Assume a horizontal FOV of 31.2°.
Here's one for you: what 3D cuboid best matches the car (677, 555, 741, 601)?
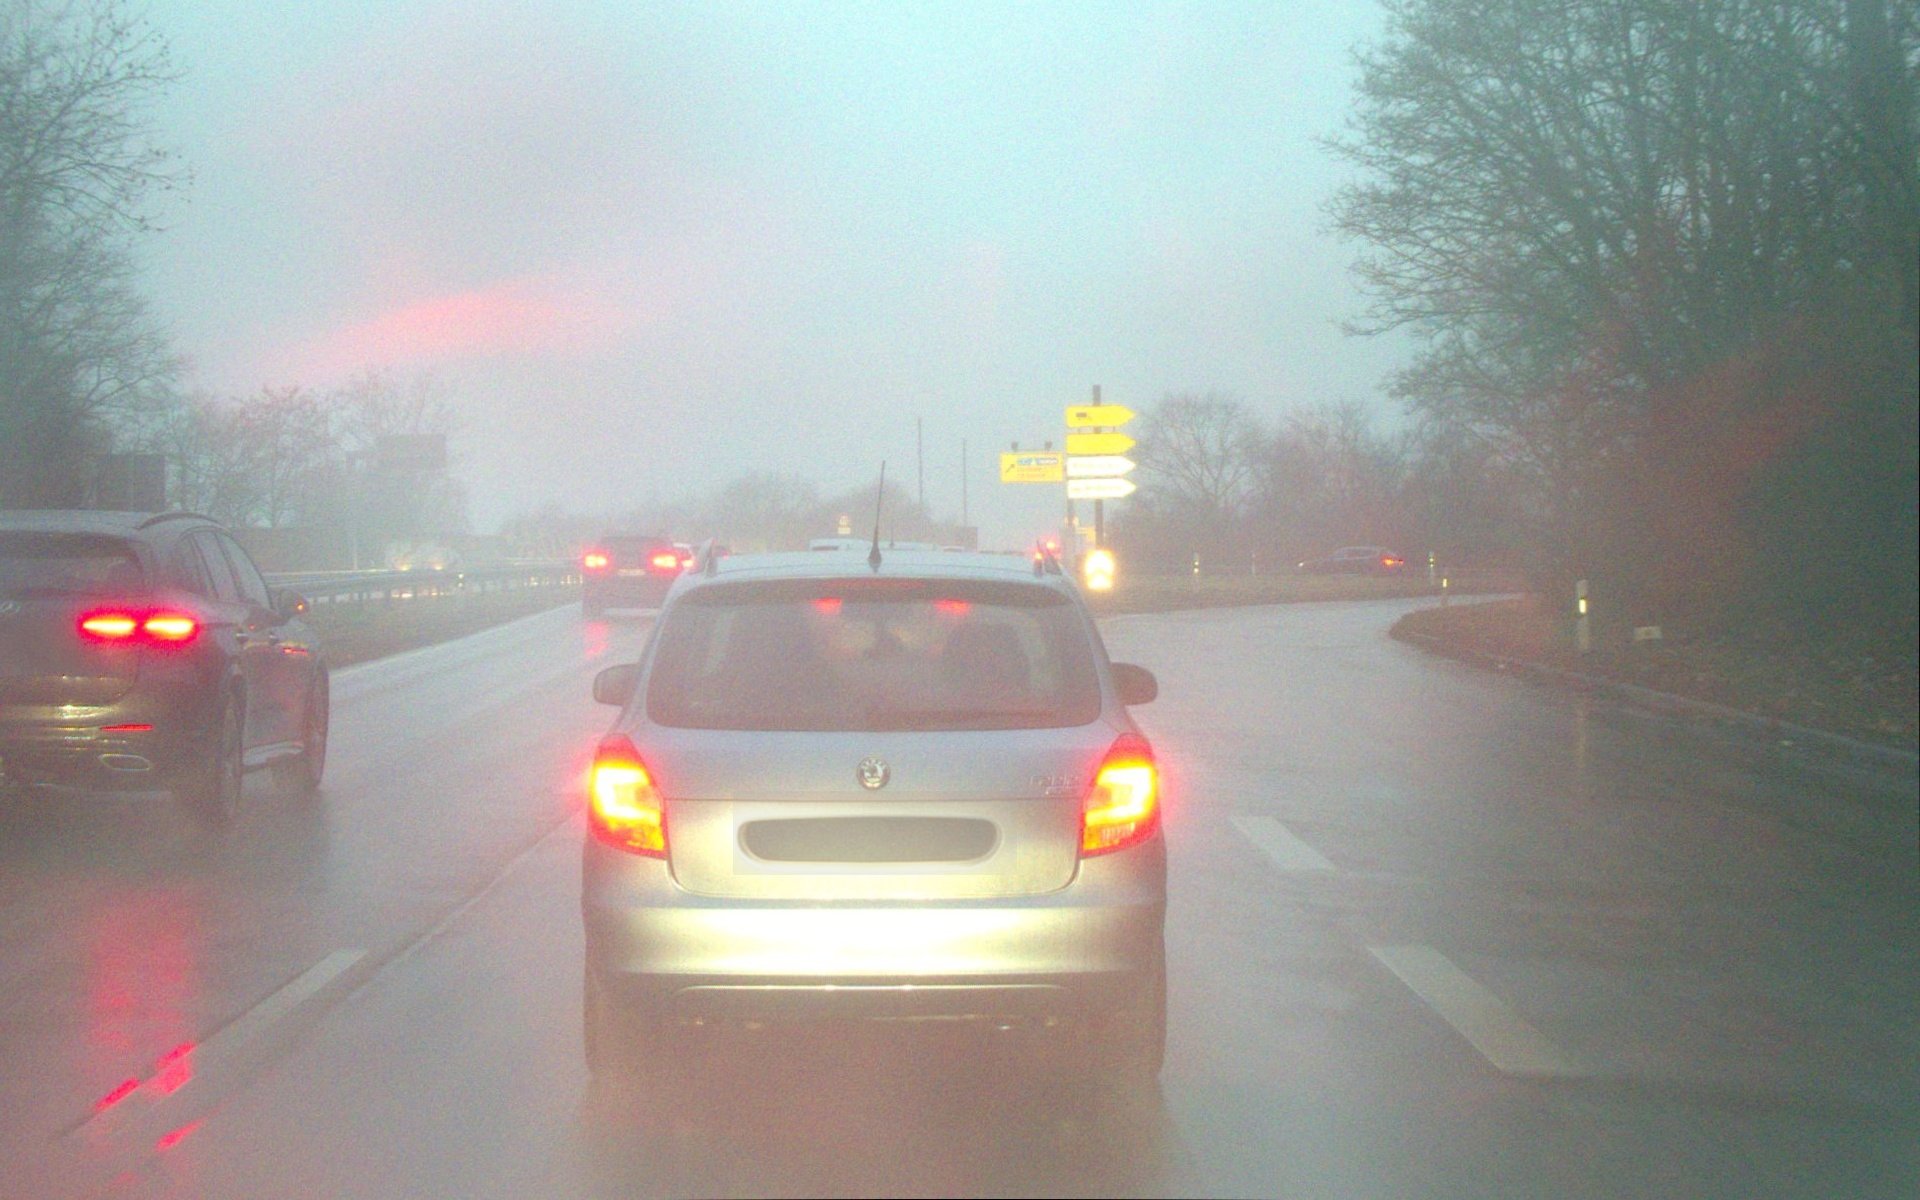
[{"bbox_3d":[-8.210,-0.729,112.686,1.789,1.478,4.000,-1,1,0],"label":"car"}]

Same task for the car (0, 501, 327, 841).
[{"bbox_3d":[-4.743,0.295,18.433,1.993,1.596,4.309,1,1,-2],"label":"car"}]

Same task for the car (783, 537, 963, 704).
[{"bbox_3d":[-0.919,0.181,38.482,1.897,1.761,4.309,0,1,0],"label":"car"}]

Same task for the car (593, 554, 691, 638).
[{"bbox_3d":[-6.019,-0.102,65.308,1.789,1.540,4.001,0,1,-5],"label":"car"}]

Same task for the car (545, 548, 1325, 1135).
[{"bbox_3d":[-0.066,0.607,10.913,1.993,1.495,4.138,0,0,0],"label":"car"}]
